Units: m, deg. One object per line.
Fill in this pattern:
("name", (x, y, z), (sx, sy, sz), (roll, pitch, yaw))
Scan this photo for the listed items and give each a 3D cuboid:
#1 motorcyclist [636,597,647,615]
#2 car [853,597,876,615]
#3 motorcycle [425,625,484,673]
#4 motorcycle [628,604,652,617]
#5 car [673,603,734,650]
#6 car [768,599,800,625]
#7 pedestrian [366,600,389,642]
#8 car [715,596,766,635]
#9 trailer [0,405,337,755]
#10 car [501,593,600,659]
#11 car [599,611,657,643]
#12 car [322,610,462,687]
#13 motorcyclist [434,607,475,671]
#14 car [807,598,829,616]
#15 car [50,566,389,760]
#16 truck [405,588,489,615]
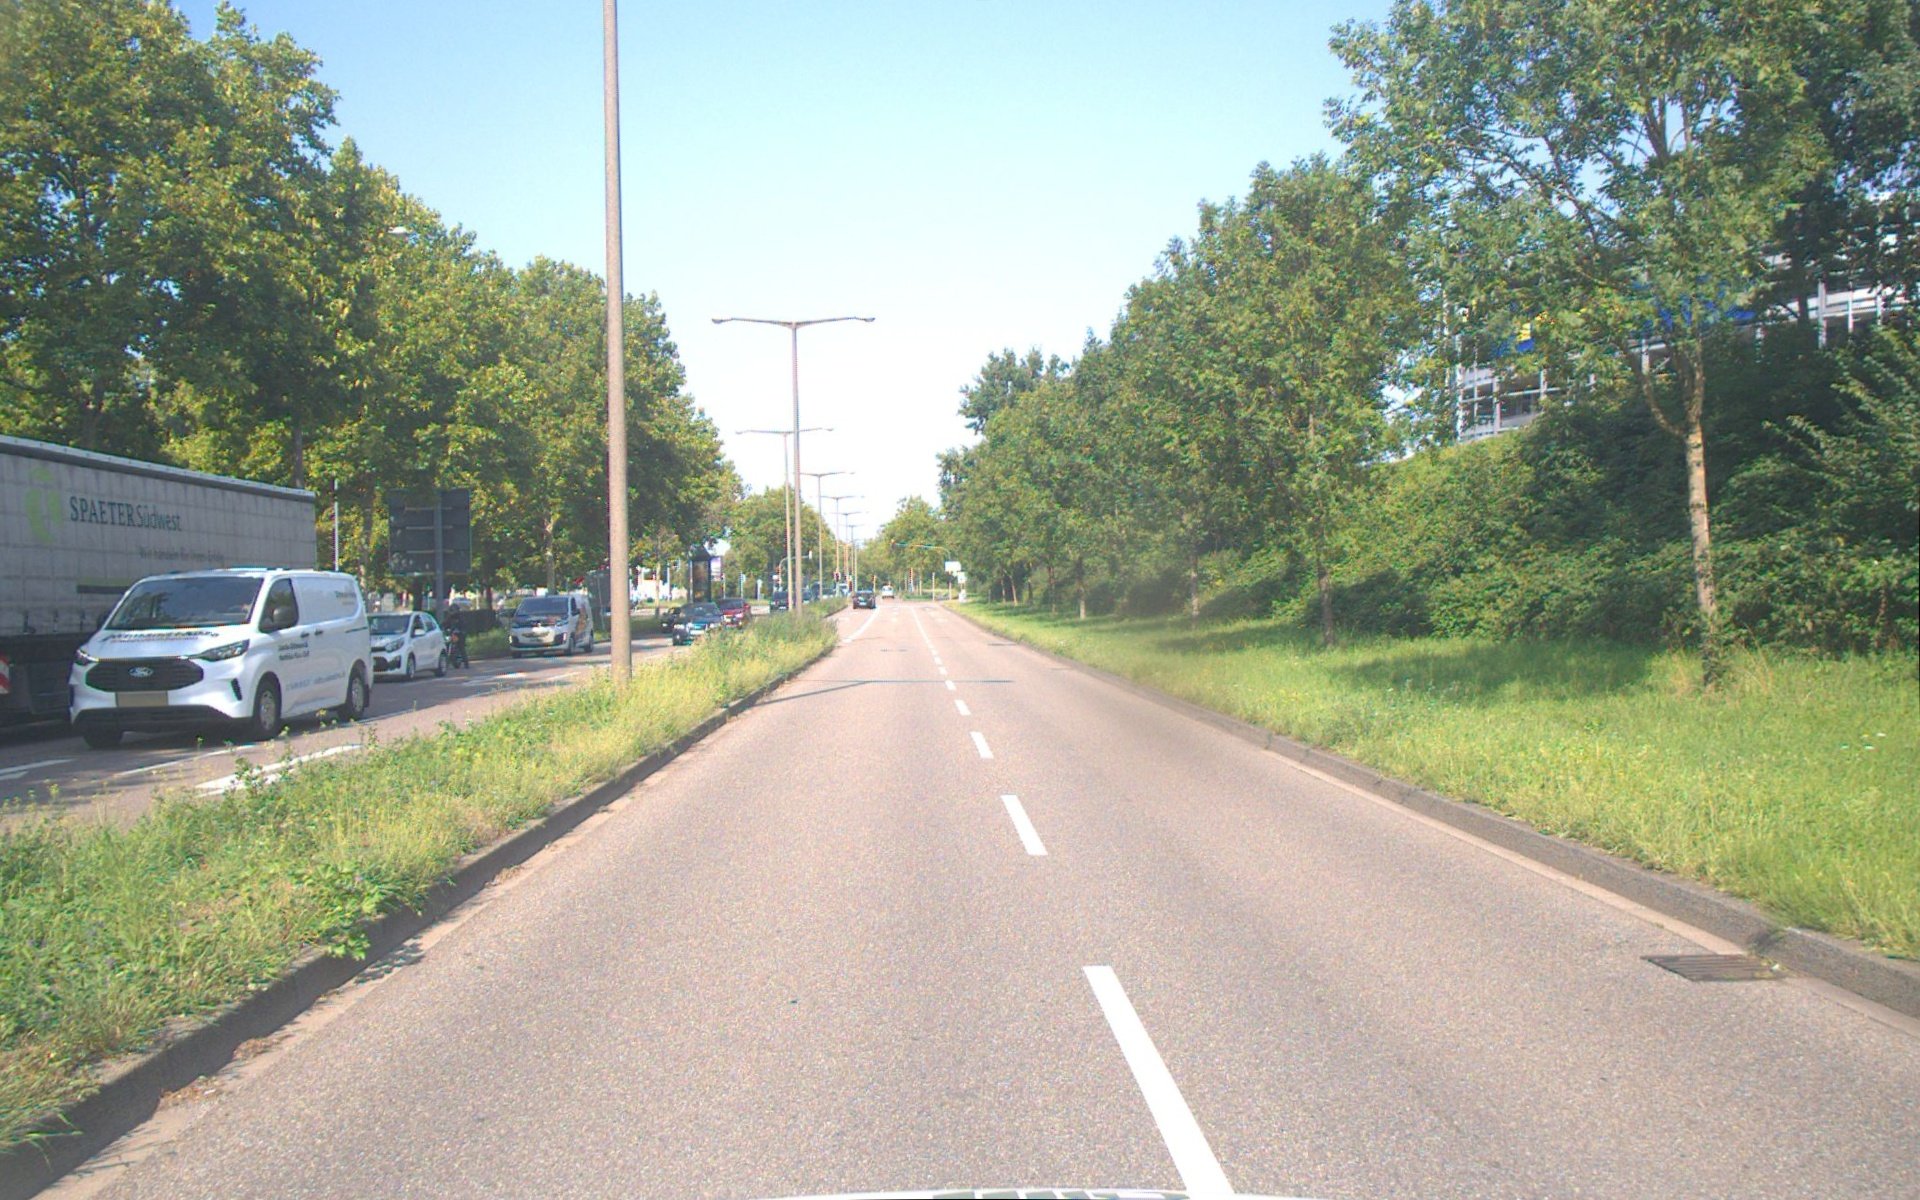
("motorcyclist", (-28.390, 0.513, 147.480), (0.677, 1.599, 0.674), (0, 0, -38))
("car", (-8.226, 0.530, 142.316), (1.657, 1.512, 4.000), (-1, 0, 1))
("motorcycle", (-12.706, 1.214, 41.636), (0.778, 1.126, 2.467), (0, 0, -1))
("motorcycle", (-28.504, 0.950, 147.369), (2.055, 1.156, 0.668), (-1, -1, -38))
("car", (-9.140, 0.918, 59.229), (1.712, 1.505, 4.583), (-3, 0, -4))
("car", (-13.198, 0.867, 124.327), (1.954, 1.790, 4.475), (-3, 0, -2))
("pedestrian", (-23.269, 0.827, 66.126), (0.604, 1.681, 0.933), (0, 0, -2))
("car", (-10.345, 0.715, 78.165), (1.914, 1.754, 4.585), (-1, 0, -2))
("trailer", (-12.057, -0.170, 22.089), (2.580, 3.888, 13.805), (-3, 0, -2))
("car", (-12.876, 0.791, 52.320), (1.945, 1.891, 4.967), (-3, 0, -2))
("car", (-15.038, 1.205, 75.072), (1.754, 1.285, 4.095), (-3, 0, 0))
("car", (-12.260, 1.011, 35.929), (1.711, 1.505, 3.830), (-2, 0, -1))
("motorcyclist", (-12.710, 0.980, 41.620), (0.762, 1.581, 0.922), (0, 0, -1))
("car", (-13.208, 0.660, 153.546), (1.842, 1.622, 4.106), (0, -1, -2))
("car", (-8.706, 0.667, 20.023), (1.954, 1.988, 5.033), (-2, 0, -2))
("truck", (-61.236, 0.172, 197.356), (8.924, 3.009, 3.466), (-2, 0, -39))
